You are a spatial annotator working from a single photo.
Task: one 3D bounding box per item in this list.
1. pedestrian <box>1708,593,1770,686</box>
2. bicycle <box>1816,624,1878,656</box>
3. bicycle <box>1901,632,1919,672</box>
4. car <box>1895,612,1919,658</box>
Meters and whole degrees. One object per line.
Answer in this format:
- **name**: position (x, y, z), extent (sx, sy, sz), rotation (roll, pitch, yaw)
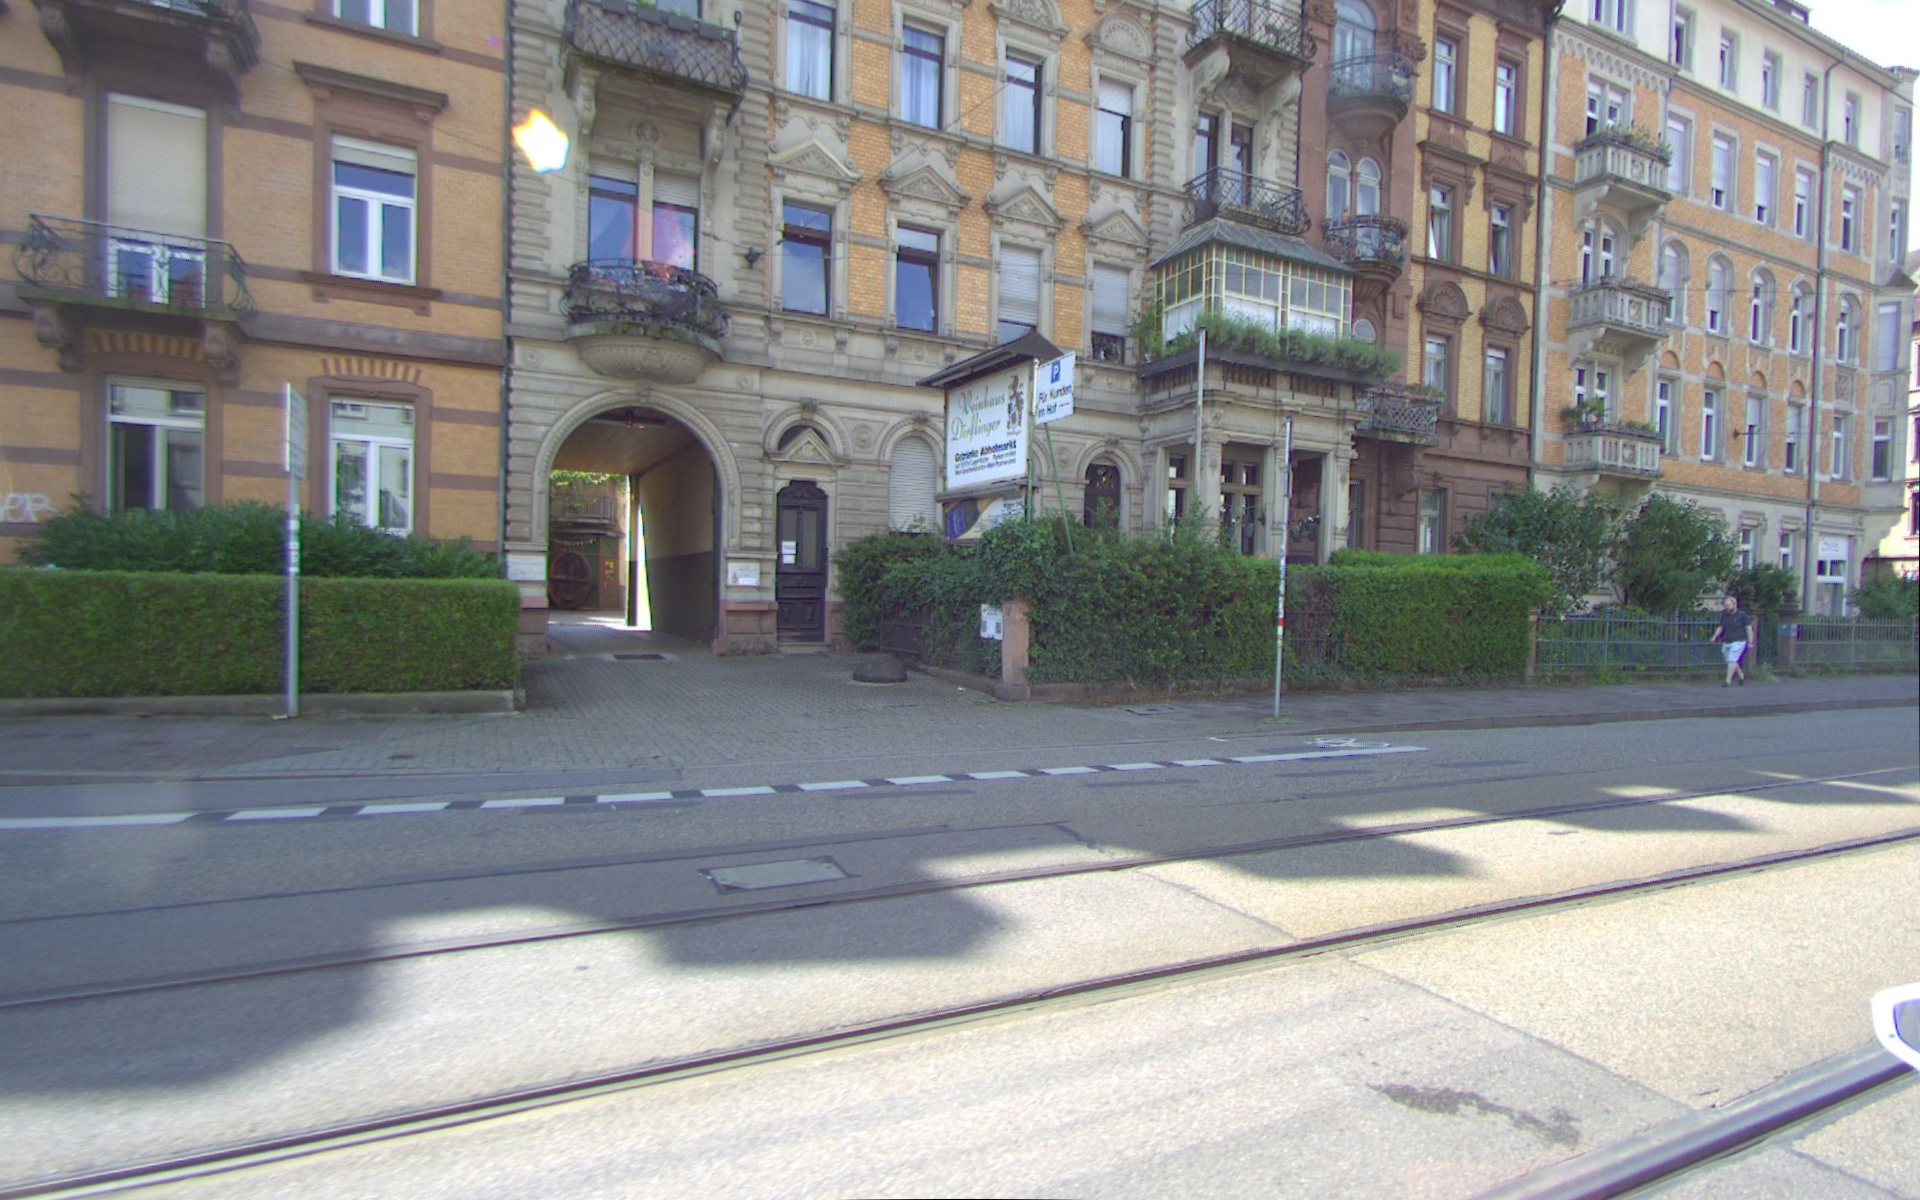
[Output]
- **pedestrian**: position (14.866, 0.740, 19.172), extent (1.137, 1.726, 0.485), rotation (1, 1, -29)
- **bicycle**: position (28.978, 1.303, 32.836), extent (0.399, 0.990, 1.448), rotation (1, 0, -26)
- **bicycle**: position (23.886, 1.270, 24.718), extent (1.924, 0.945, 0.419), rotation (1, 1, -28)
- **car**: position (31.829, 1.169, 31.237), extent (1.761, 1.422, 3.596), rotation (1, 1, -22)
